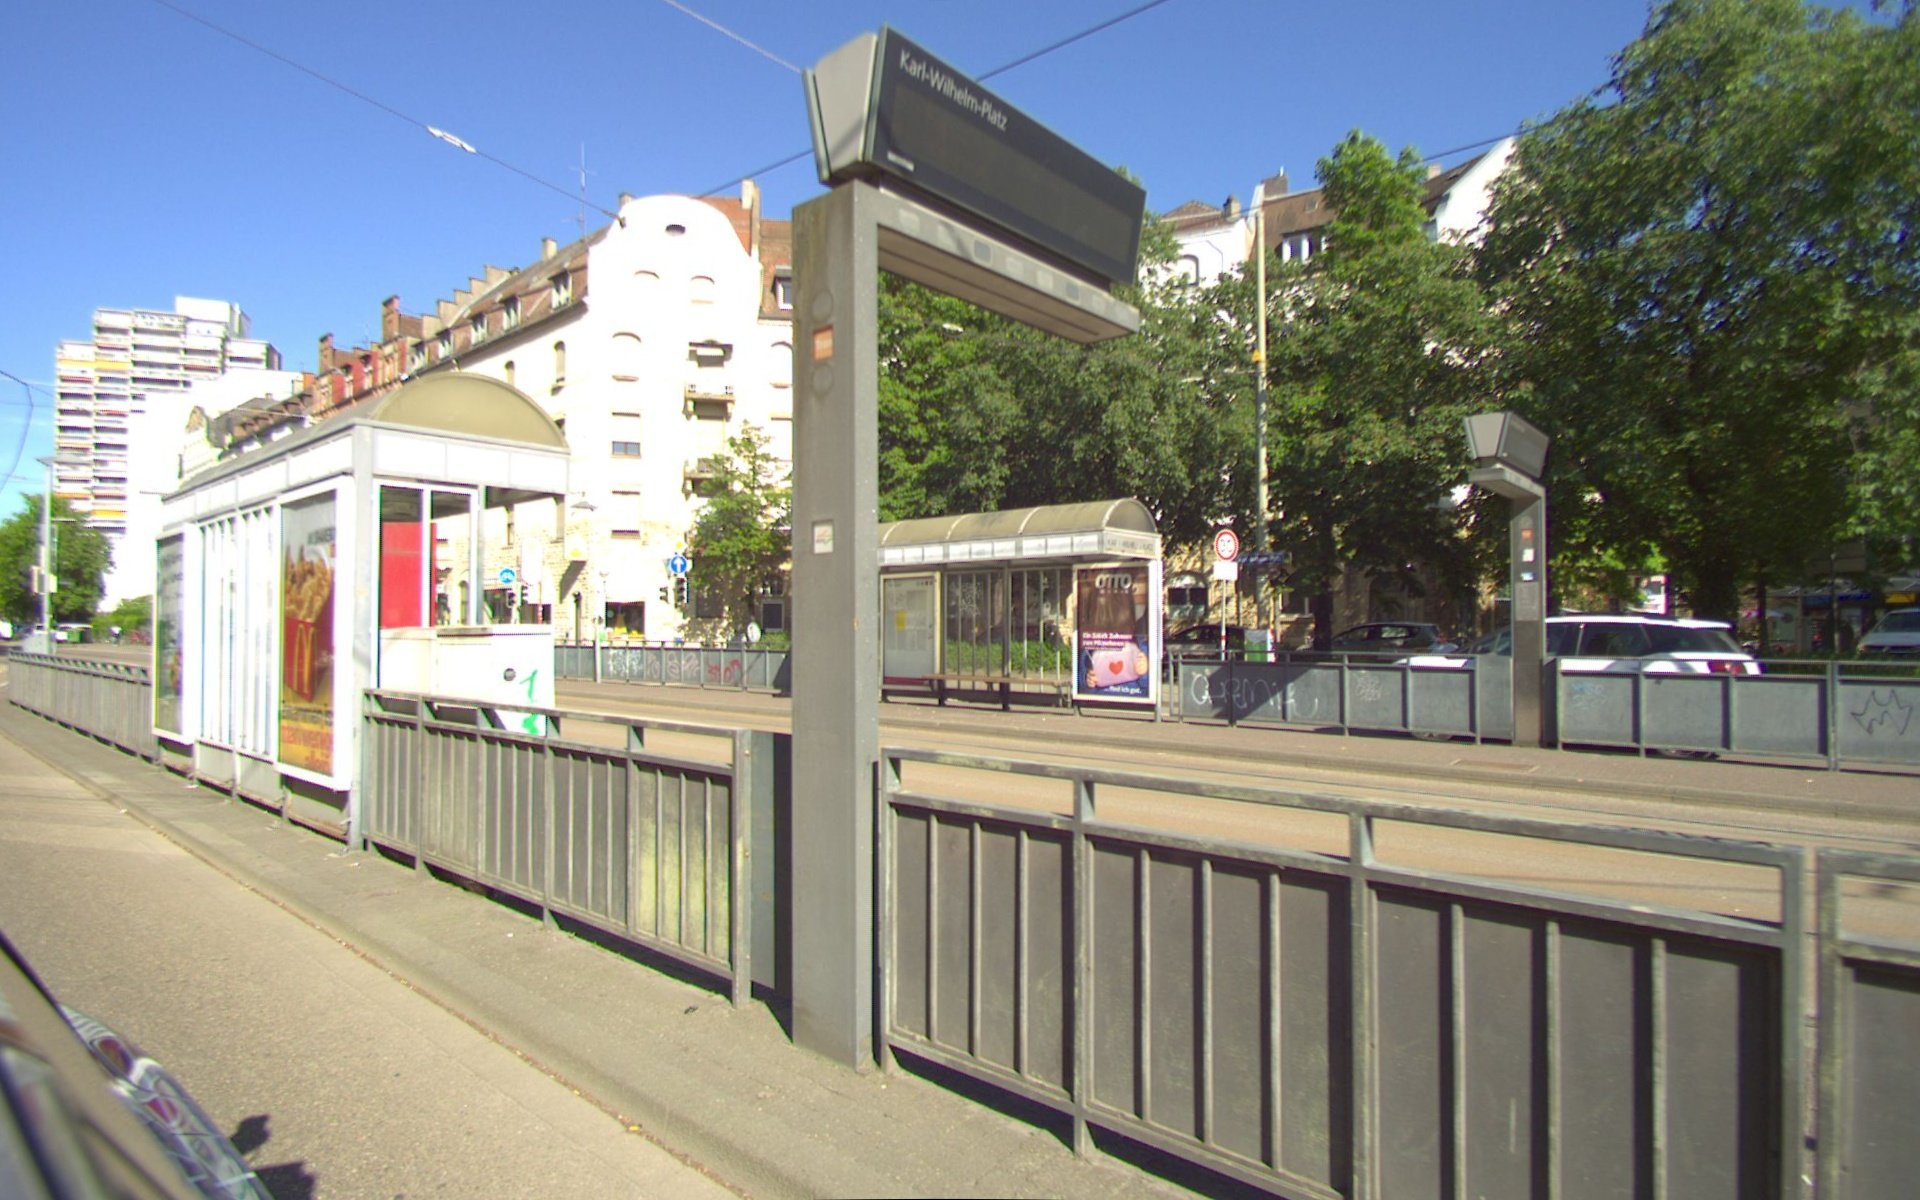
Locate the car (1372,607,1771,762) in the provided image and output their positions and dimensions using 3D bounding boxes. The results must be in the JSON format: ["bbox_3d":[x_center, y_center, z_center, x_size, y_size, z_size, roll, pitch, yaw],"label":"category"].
[{"bbox_3d":[7.181,0.907,12.131,3.800,1.552,1.671,-2,-3,45],"label":"car"}]

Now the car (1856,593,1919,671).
[{"bbox_3d":[26.286,0.786,26.654,4.774,1.957,1.931,-1,-1,-20],"label":"car"}]

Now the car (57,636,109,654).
[{"bbox_3d":[-79.051,4.054,91.265,3.168,1.431,1.574,-1,-1,-16],"label":"car"}]

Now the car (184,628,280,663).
[{"bbox_3d":[-39.148,2.400,54.467,1.815,1.600,3.839,4,2,36],"label":"car"}]

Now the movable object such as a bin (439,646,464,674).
[{"bbox_3d":[-24.769,2.918,49.302,0.747,1.318,0.868,-2,-1,36],"label":"movable object such as a bin"}]

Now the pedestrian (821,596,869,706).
[{"bbox_3d":[-1.921,0.844,16.882,0.673,1.798,0.460,-2,-2,40],"label":"pedestrian"}]

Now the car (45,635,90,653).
[{"bbox_3d":[-82.404,4.050,93.458,1.545,1.431,3.227,-1,-1,-5],"label":"car"}]

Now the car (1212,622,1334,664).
[{"bbox_3d":[9.811,1.329,31.764,3.440,1.224,1.513,-1,-1,27],"label":"car"}]

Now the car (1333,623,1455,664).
[{"bbox_3d":[12.861,1.272,30.029,3.136,1.104,1.452,-2,-1,33],"label":"car"}]
